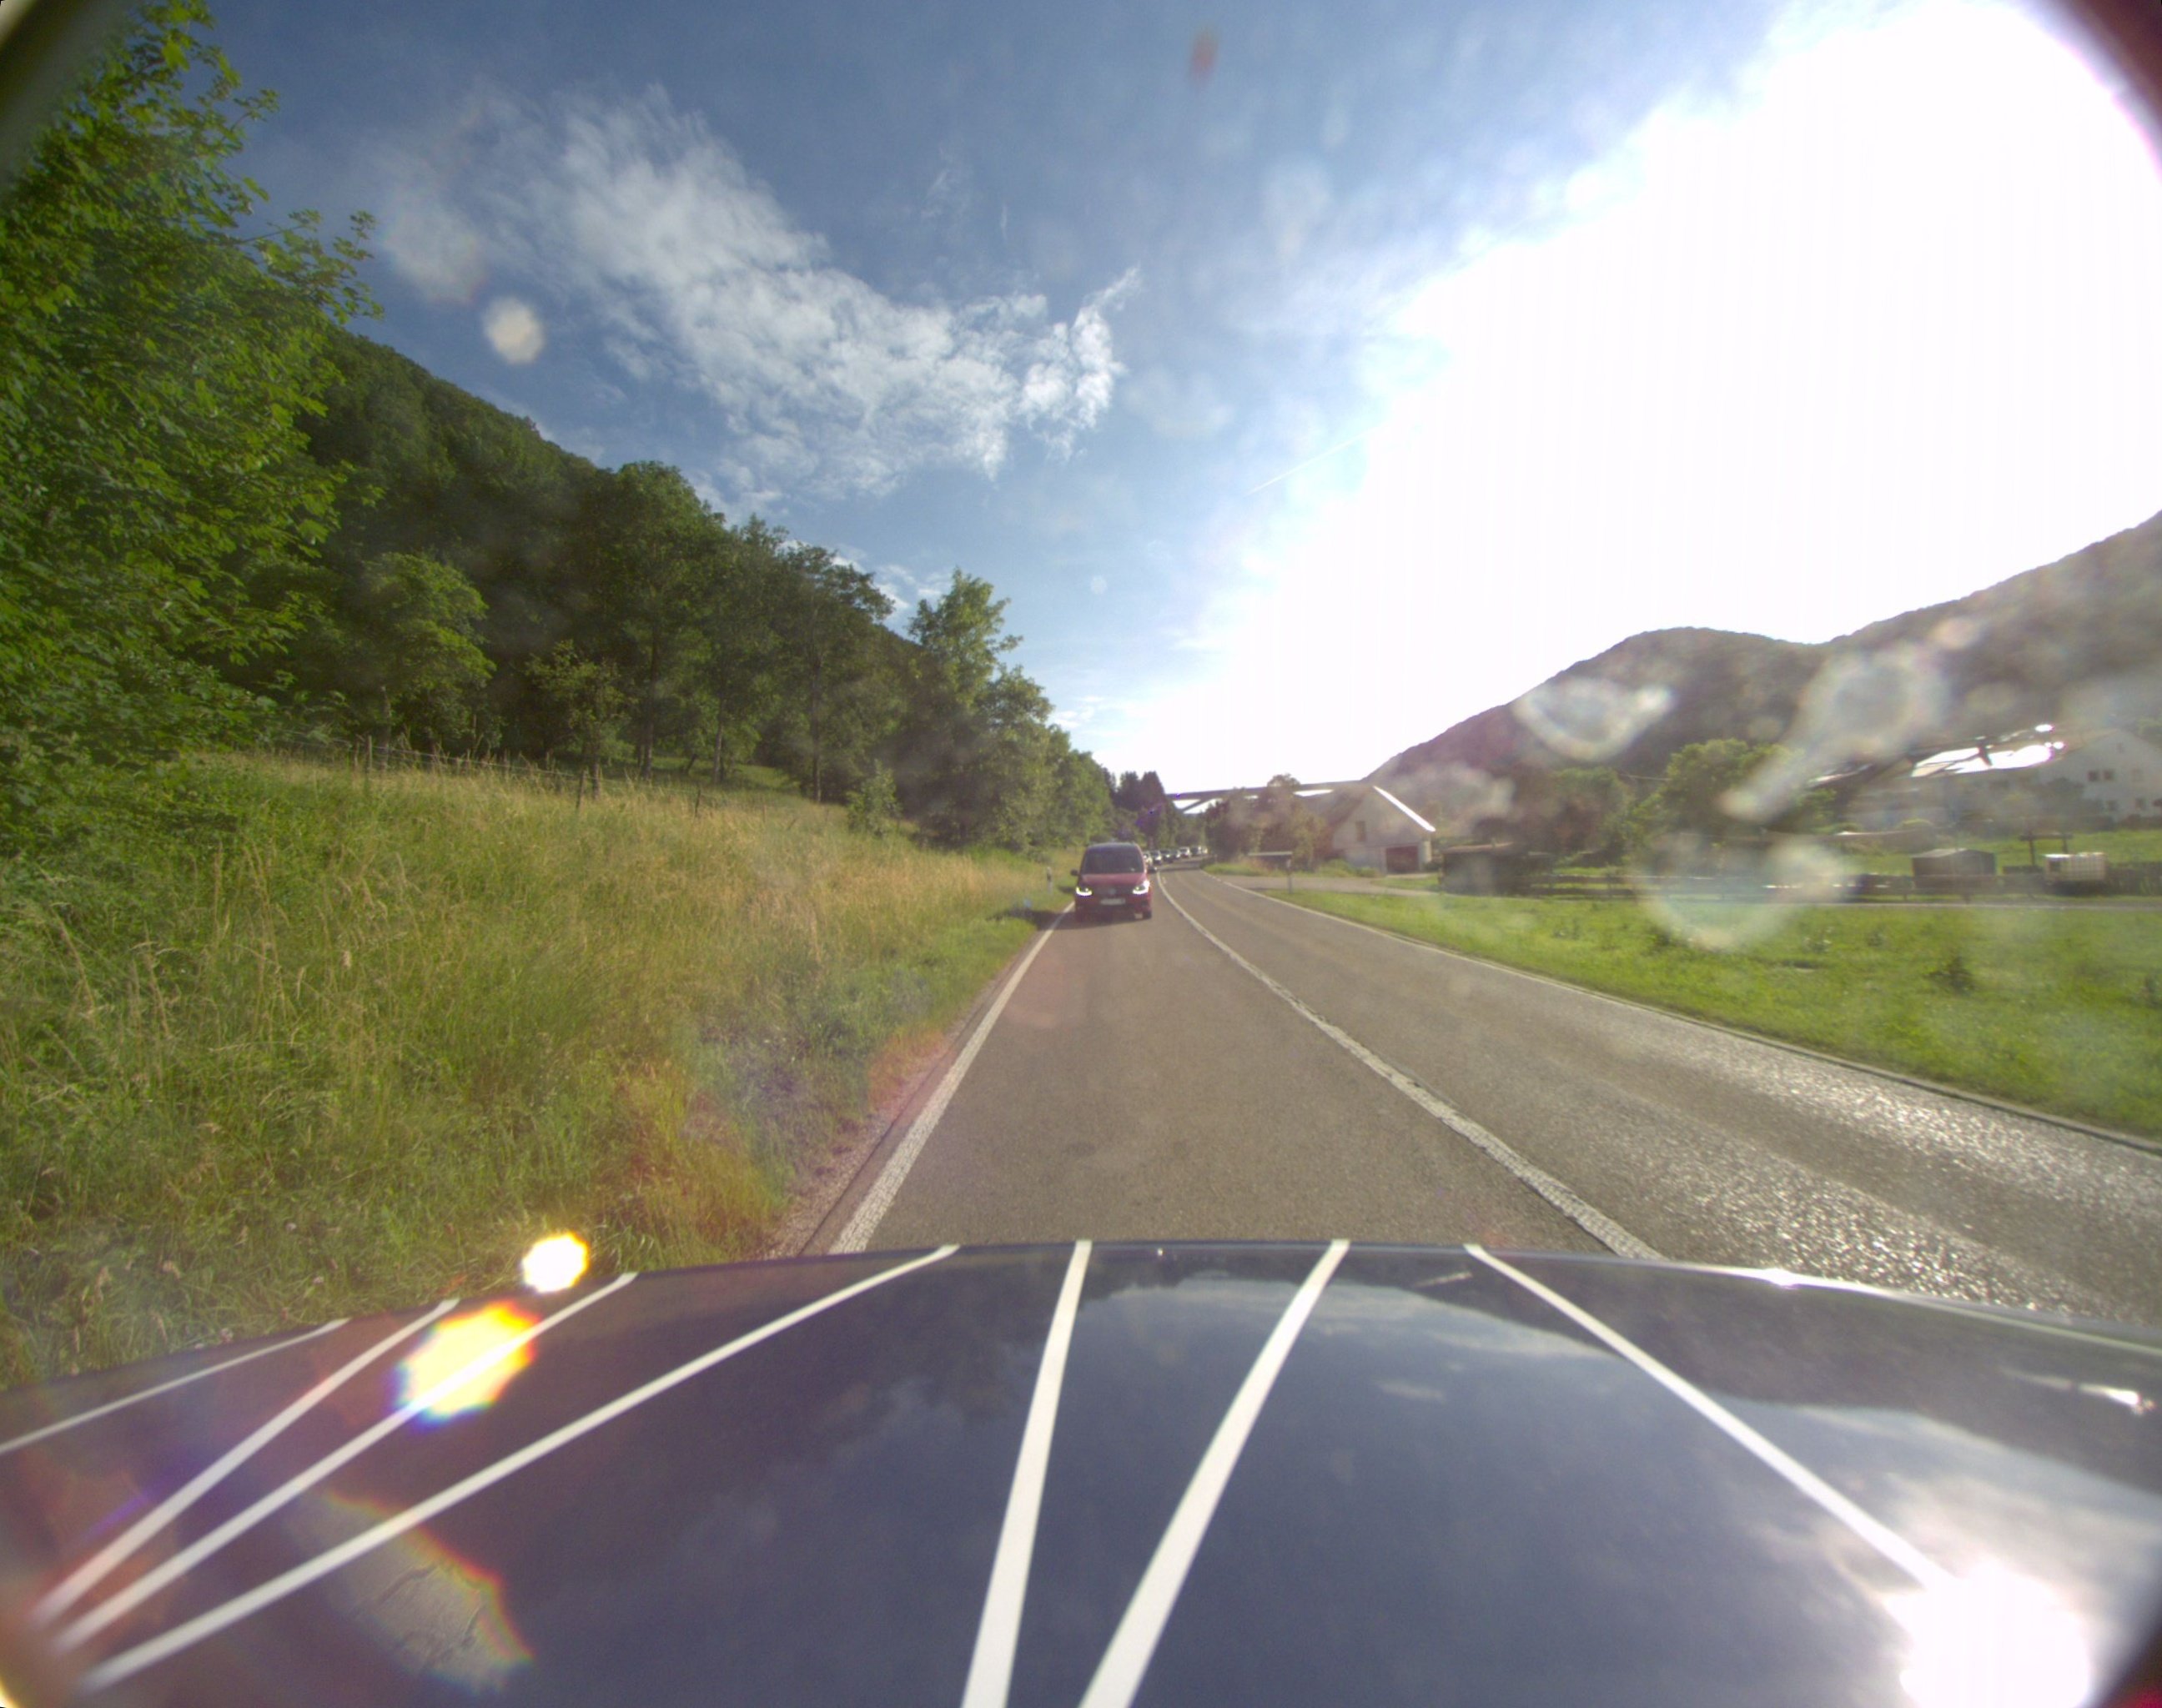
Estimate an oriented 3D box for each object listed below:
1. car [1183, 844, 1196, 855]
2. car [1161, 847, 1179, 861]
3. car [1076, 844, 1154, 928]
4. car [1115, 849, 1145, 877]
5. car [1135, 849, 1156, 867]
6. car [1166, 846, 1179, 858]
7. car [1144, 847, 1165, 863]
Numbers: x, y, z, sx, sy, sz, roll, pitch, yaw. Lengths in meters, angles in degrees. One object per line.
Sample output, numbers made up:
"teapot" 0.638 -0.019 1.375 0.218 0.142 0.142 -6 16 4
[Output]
"car" 16.723 -0.710 116.954 1.629 1.470 3.680 -2 1 3
"car" 10.063 -0.055 86.380 1.630 1.470 3.679 -2 1 1
"car" 0.757 0.670 18.510 1.649 1.762 3.999 -2 1 1
"car" 2.885 0.507 44.299 1.629 1.470 3.680 -2 1 4
"car" 5.504 0.329 65.125 1.629 1.470 3.680 -2 1 4
"car" 12.258 -0.321 101.671 1.629 1.470 3.681 -2 1 8
"car" 7.142 0.072 73.835 1.630 1.470 3.679 -2 1 1
